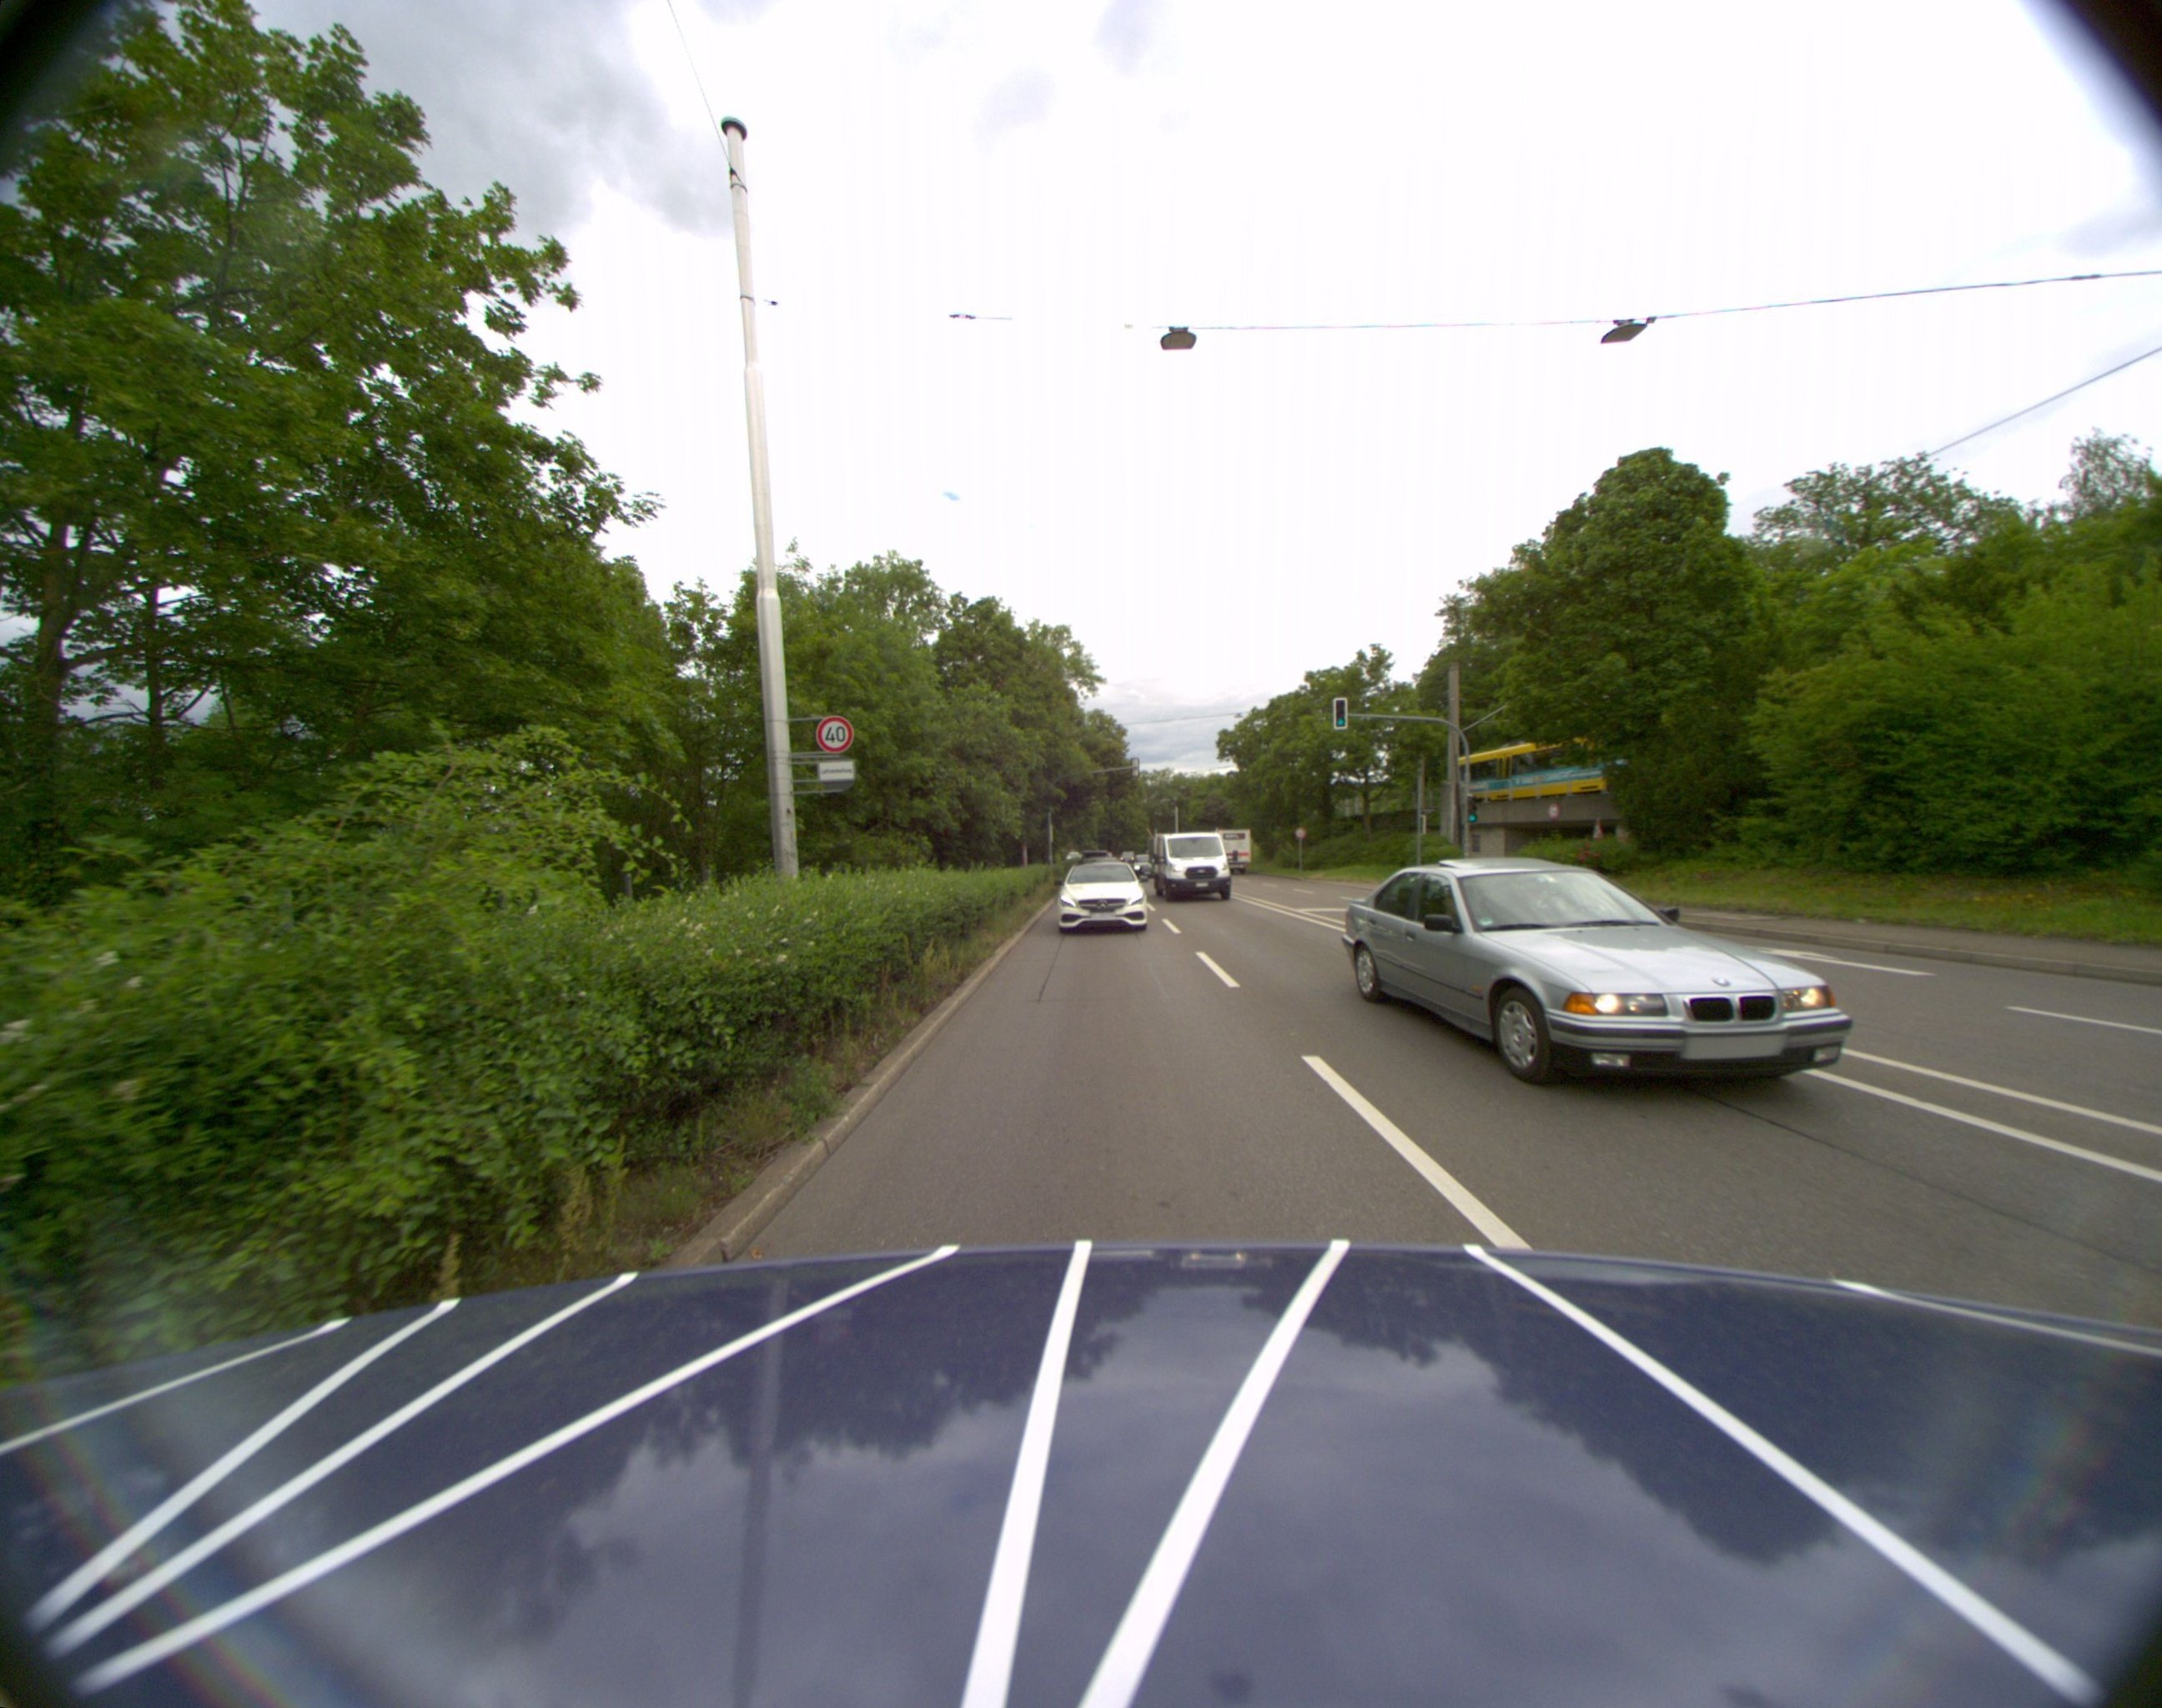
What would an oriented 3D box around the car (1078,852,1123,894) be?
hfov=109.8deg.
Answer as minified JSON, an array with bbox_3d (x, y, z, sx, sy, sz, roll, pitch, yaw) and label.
[{"bbox_3d":[0.735,0.727,30.867,1.678,1.532,4.614,-1,0,0],"label":"car"}]

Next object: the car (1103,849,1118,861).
[{"bbox_3d":[4.148,0.098,105.743,1.677,1.532,4.617,-1,0,6],"label":"car"}]

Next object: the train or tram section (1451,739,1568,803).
[{"bbox_3d":[25.485,-4.816,45.722,2.063,3.026,8.148,-3,2,-3],"label":"train or tram section"}]

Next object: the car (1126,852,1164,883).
[{"bbox_3d":[3.439,0.698,41.563,1.677,1.532,4.553,-1,0,0],"label":"car"}]

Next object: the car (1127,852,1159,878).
[{"bbox_3d":[3.975,0.680,49.101,1.678,1.532,4.614,-1,0,0],"label":"car"}]

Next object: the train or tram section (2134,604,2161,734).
[{"bbox_3d":[26.954,-4.418,14.575,2.062,3.026,8.148,-3,2,-2],"label":"train or tram section"}]

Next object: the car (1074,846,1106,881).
[{"bbox_3d":[0.538,0.554,47.748,1.825,2.059,4.614,-1,0,0],"label":"car"}]

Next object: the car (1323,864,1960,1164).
[{"bbox_3d":[3.519,0.829,6.085,1.757,1.385,4.615,-1,0,1],"label":"car"}]

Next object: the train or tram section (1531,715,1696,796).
[{"bbox_3d":[25.863,-4.632,37.519,2.063,3.026,8.148,-3,2,-3],"label":"train or tram section"}]

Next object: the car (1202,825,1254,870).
[{"bbox_3d":[10.669,-0.473,55.637,2.275,3.038,7.235,-2,0,0],"label":"car"}]

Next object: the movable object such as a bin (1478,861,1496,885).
[{"bbox_3d":[19.237,0.886,35.977,0.544,1.092,0.563,1,1,0],"label":"movable object such as a bin"}]

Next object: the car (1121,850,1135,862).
[{"bbox_3d":[6.288,0.209,101.040,1.677,1.532,4.617,-1,0,6],"label":"car"}]

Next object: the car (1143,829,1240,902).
[{"bbox_3d":[3.595,0.314,26.166,2.253,2.113,6.668,-2,0,0],"label":"car"}]

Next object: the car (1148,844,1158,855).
[{"bbox_3d":[13.487,-0.839,142.240,1.762,1.863,4.617,-1,0,6],"label":"car"}]

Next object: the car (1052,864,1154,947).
[{"bbox_3d":[0.432,0.964,15.850,1.807,1.385,4.284,-1,0,1],"label":"car"}]
